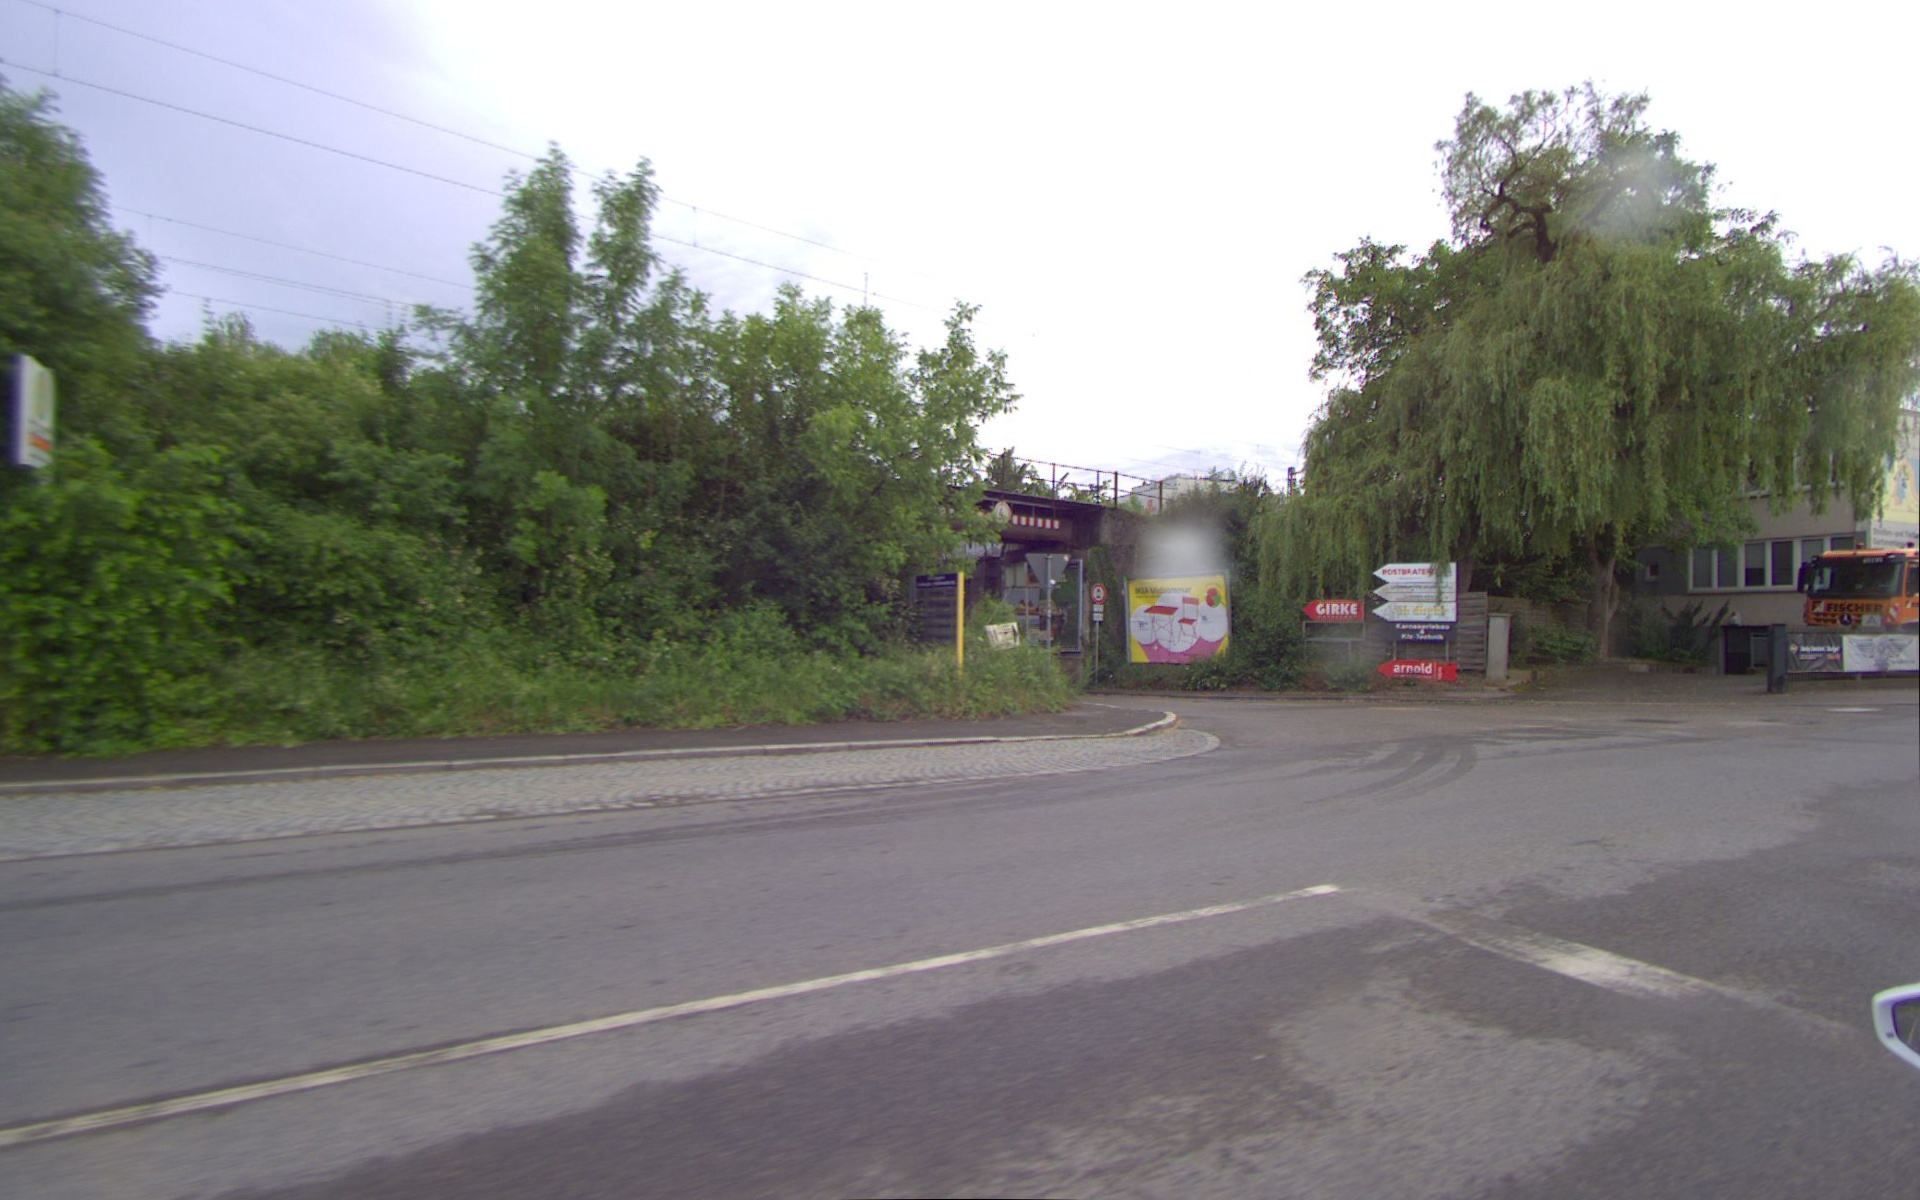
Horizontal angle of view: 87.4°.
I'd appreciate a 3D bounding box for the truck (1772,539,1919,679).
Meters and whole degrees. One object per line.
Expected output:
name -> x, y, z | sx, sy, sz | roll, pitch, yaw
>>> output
truck -> 26.992, 0.422, 27.817 | 8.935, 3.457, 2.694 | 3, 0, -20
